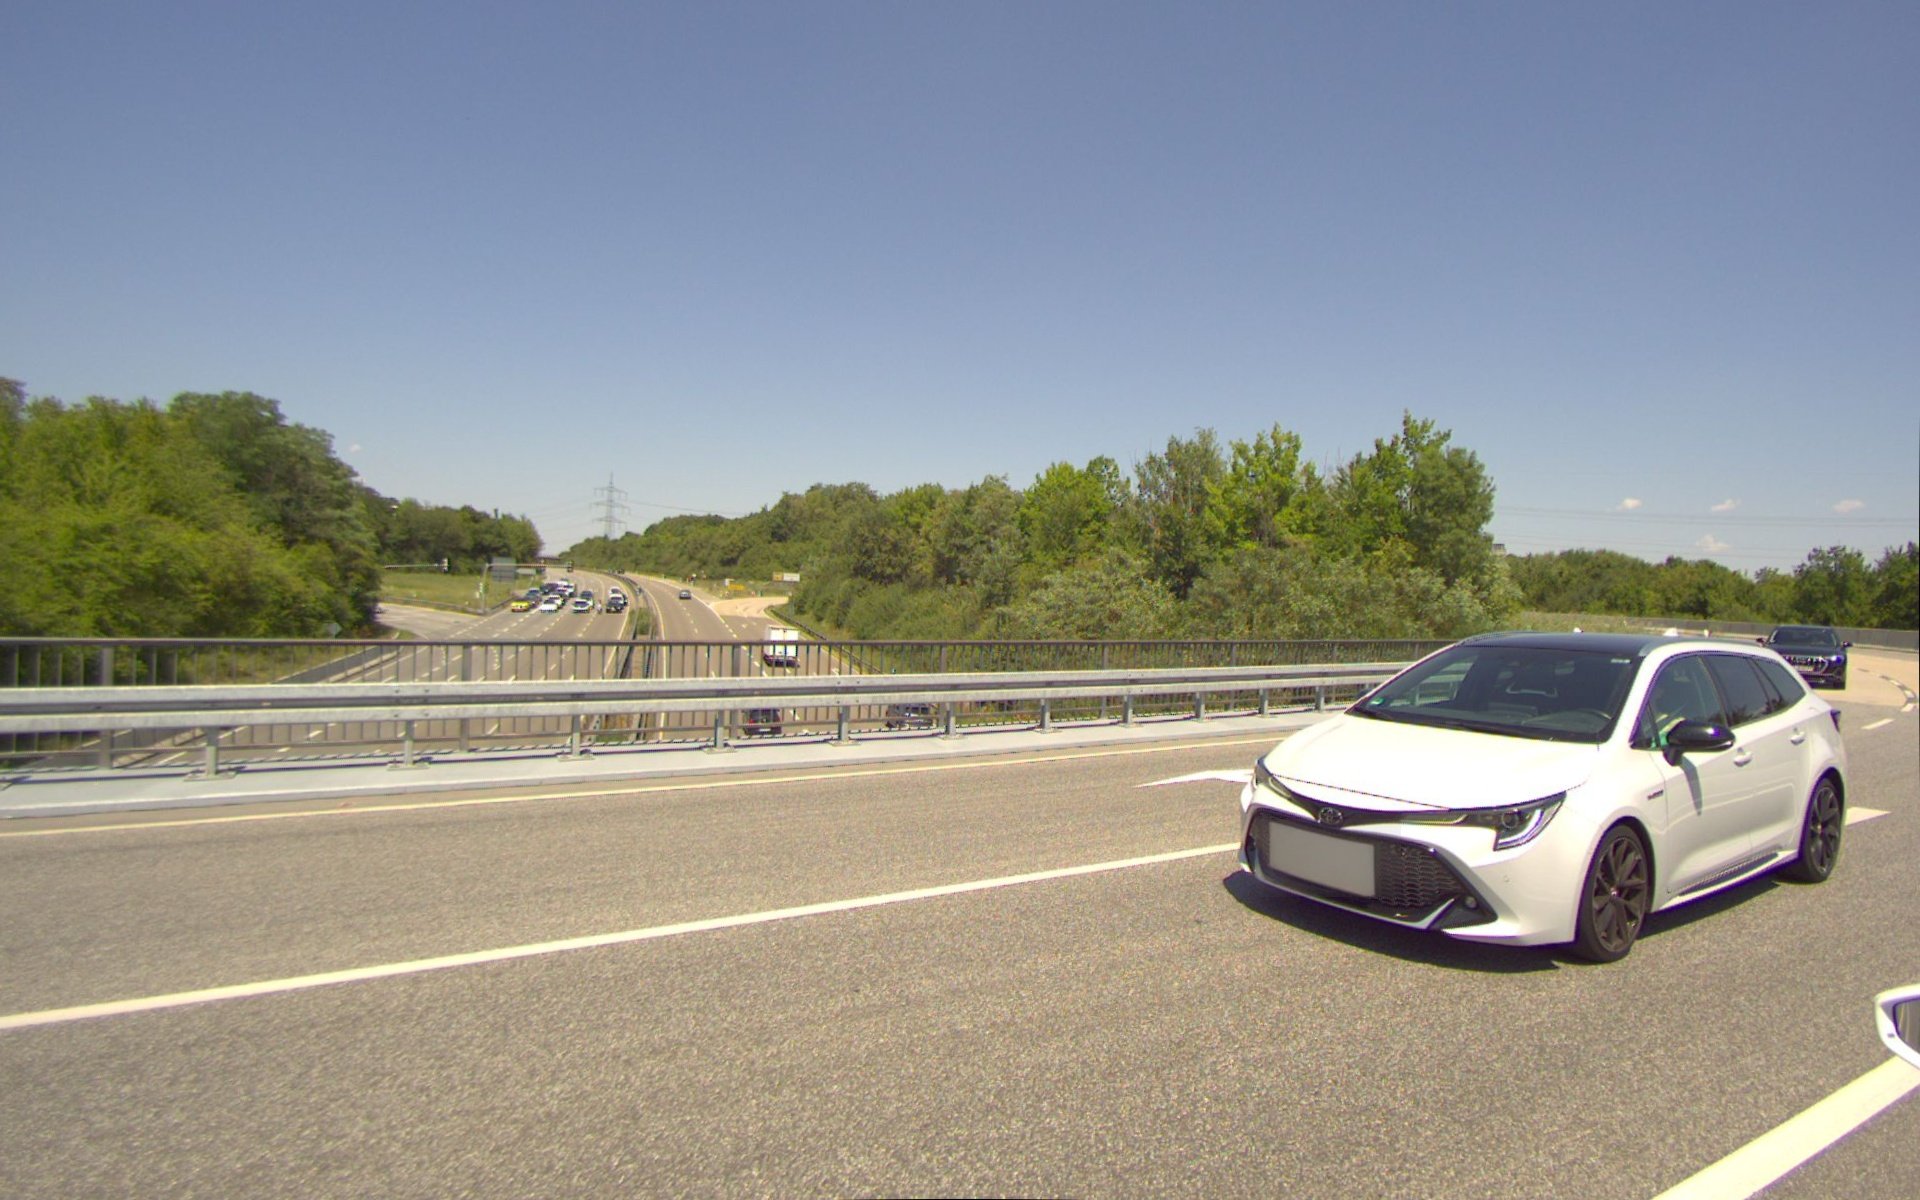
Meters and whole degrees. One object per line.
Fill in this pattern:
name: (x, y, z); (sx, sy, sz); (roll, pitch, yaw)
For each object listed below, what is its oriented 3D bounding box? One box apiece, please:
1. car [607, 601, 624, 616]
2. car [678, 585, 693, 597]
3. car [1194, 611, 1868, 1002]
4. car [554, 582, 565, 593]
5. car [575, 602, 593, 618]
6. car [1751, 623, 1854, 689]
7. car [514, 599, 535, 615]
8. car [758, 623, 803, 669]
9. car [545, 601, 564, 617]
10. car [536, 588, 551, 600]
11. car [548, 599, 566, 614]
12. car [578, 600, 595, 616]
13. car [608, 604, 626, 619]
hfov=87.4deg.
car: (-44.198, 1.105, 128.985); (1.970, 1.662, 3.981); (2, 2, -20)
car: (-44.162, -1.463, 161.537); (1.969, 1.618, 3.982); (1, 4, -19)
car: (3.504, 0.868, 5.841); (4.324, 1.478, 1.731); (2, -1, -35)
car: (-74.045, -2.315, 185.779); (1.777, 1.670, 3.622); (3, 3, -20)
car: (-45.068, 1.200, 120.496); (1.970, 1.662, 3.981); (2, 2, -20)
car: (22.827, 1.437, 27.148); (1.796, 1.617, 4.420); (0, -1, 45)
car: (-51.689, 0.811, 119.267); (1.970, 1.662, 3.981); (2, 2, -20)
car: (-13.974, 3.514, 77.933); (2.590, 2.961, 5.468); (1, 3, -18)
car: (-48.312, 1.012, 119.643); (1.970, 1.662, 3.981); (2, 2, -20)
car: (-64.226, -0.874, 154.915); (1.970, 1.662, 3.981); (2, 2, -20)
car: (-50.428, 0.776, 125.829); (1.970, 1.662, 3.981); (2, 2, -20)
car: (-47.356, 1.006, 127.477); (1.970, 1.929, 3.981); (2, 2, -20)
car: (-41.765, 1.375, 122.127); (1.970, 1.662, 3.981); (2, 2, -20)
